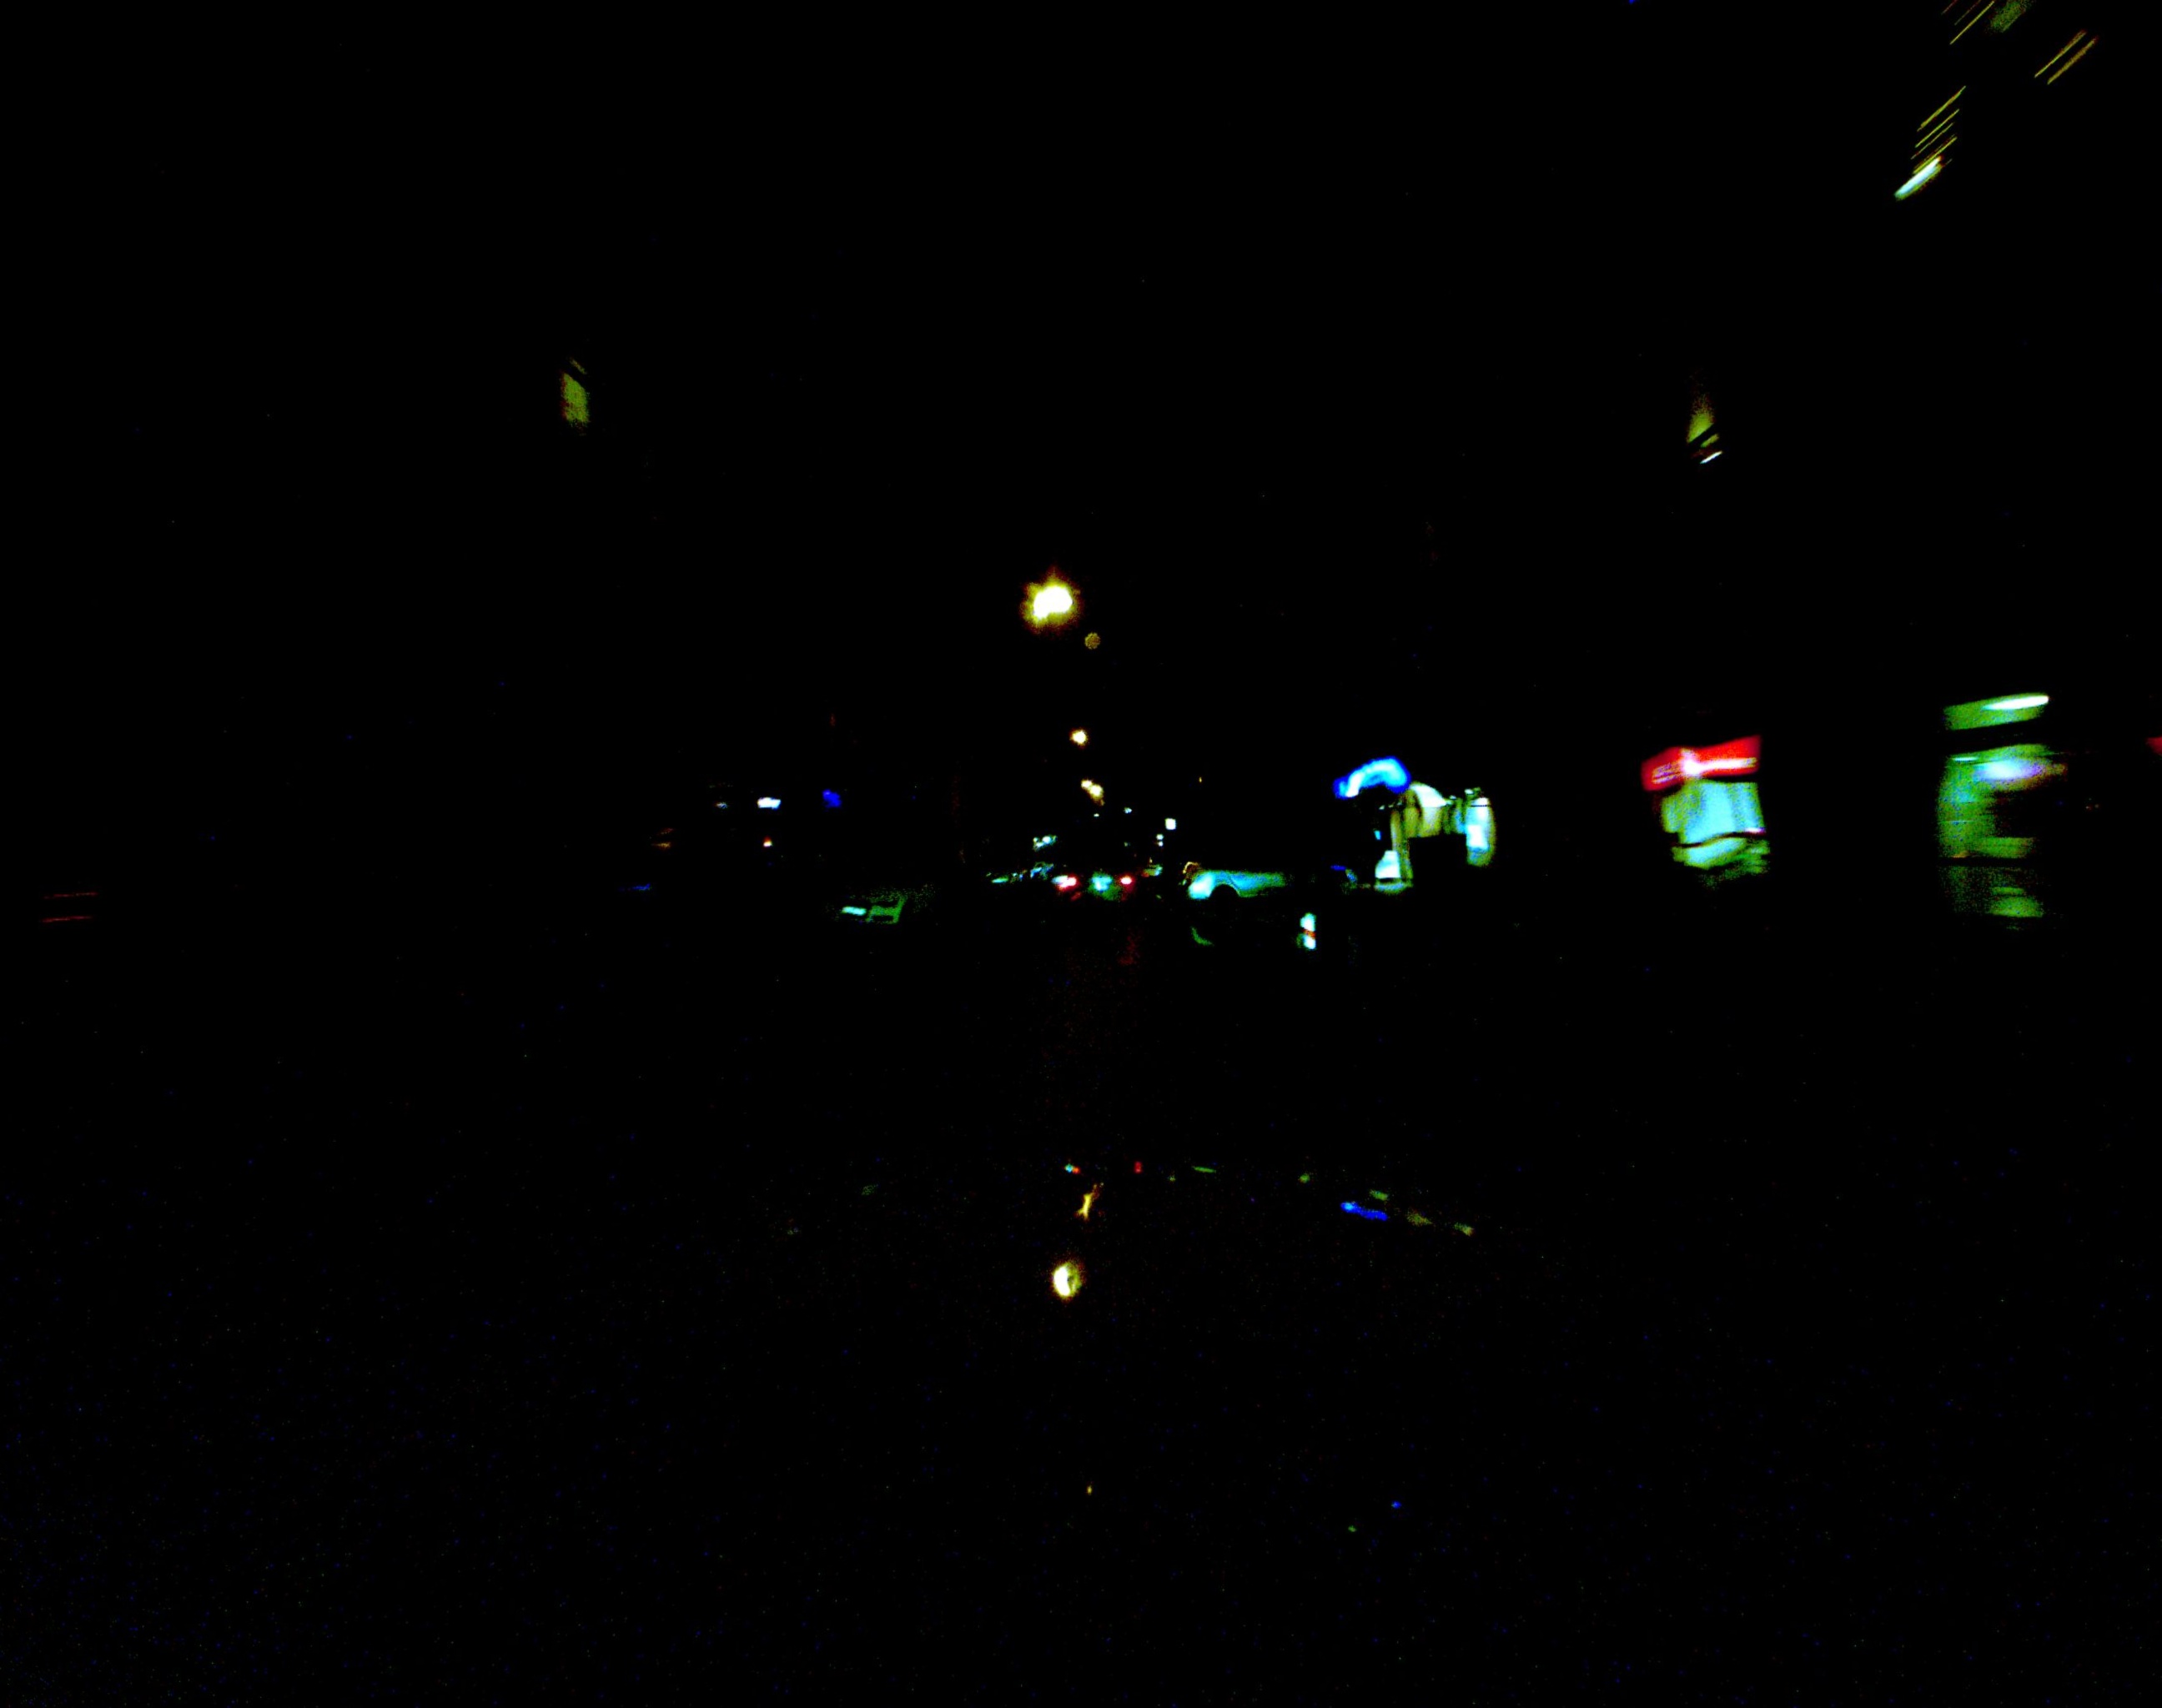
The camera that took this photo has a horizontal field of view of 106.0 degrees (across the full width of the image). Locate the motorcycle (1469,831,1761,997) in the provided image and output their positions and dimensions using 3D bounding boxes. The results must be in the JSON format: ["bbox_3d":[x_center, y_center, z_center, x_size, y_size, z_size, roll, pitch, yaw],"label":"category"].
[{"bbox_3d":[5.126,0.558,7.940,2.165,1.318,0.867,-6,0,1],"label":"motorcycle"}]

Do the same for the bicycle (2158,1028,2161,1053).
[{"bbox_3d":[3.684,0.831,2.011,1.525,0.952,0.366,-7,-1,-3],"label":"bicycle"}]

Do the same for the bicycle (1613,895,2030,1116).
[{"bbox_3d":[3.926,0.811,4.406,1.660,0.952,0.367,-8,-1,8],"label":"bicycle"}]

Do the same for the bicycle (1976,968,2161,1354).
[{"bbox_3d":[3.705,0.825,2.471,1.525,0.952,0.366,-7,-1,-3],"label":"bicycle"}]

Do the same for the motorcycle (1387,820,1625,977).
[{"bbox_3d":[5.056,0.514,9.816,2.280,1.588,0.867,-6,-1,1],"label":"motorcycle"}]

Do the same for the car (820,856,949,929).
[{"bbox_3d":[-4.586,0.833,19.814,1.760,1.483,4.775,1,0,2],"label":"car"}]

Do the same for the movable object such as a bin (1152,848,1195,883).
[{"bbox_3d":[3.955,0.483,34.840,1.347,1.429,1.188,-2,0,-35],"label":"movable object such as a bin"}]

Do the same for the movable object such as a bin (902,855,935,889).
[{"bbox_3d":[-7.189,0.786,36.101,1.098,1.454,1.378,-3,0,-1],"label":"movable object such as a bin"}]

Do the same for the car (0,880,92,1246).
[{"bbox_3d":[-5.204,0.878,1.723,1.563,1.460,3.722,-2,0,2],"label":"car"}]

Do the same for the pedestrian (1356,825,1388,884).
[{"bbox_3d":[9.028,0.012,25.298,0.699,1.788,0.625,-4,1,5],"label":"pedestrian"}]

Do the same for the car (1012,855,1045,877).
[{"bbox_3d":[-3.497,0.783,55.107,1.815,1.389,4.427,-2,0,2],"label":"car"}]

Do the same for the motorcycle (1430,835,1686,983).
[{"bbox_3d":[5.128,0.570,8.873,2.165,1.318,0.867,-6,0,1],"label":"motorcycle"}]

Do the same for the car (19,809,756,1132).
[{"bbox_3d":[-5.084,0.668,7.342,1.988,1.829,5.209,-2,0,2],"label":"car"}]

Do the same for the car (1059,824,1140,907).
[{"bbox_3d":[0.562,0.280,23.123,1.988,2.049,4.697,-2,0,2],"label":"car"}]

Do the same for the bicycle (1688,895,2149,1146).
[{"bbox_3d":[3.861,0.773,3.836,1.520,0.952,0.367,-8,-1,8],"label":"bicycle"}]

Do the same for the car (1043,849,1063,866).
[{"bbox_3d":[-2.913,0.330,85.657,1.826,1.717,4.596,-2,0,2],"label":"car"}]

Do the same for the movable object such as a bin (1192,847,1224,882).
[{"bbox_3d":[5.501,0.441,35.212,1.300,1.429,1.053,-2,0,11],"label":"movable object such as a bin"}]

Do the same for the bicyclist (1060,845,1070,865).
[{"bbox_3d":[-1.261,0.102,64.134,0.716,1.556,0.895,-3,0,1],"label":"bicyclist"}]

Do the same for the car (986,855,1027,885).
[{"bbox_3d":[-3.827,0.799,42.279,1.666,1.491,3.723,-1,0,1],"label":"car"}]

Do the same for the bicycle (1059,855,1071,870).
[{"bbox_3d":[-1.243,0.657,64.113,0.724,1.072,2.349,-3,0,2],"label":"bicycle"}]

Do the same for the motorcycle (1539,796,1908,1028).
[{"bbox_3d":[5.109,0.438,6.604,2.165,1.547,0.867,-6,-1,1],"label":"motorcycle"}]

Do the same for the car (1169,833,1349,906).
[{"bbox_3d":[4.821,0.402,22.474,4.497,1.530,1.780,-5,0,1],"label":"car"}]

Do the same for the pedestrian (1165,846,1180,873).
[{"bbox_3d":[6.152,0.365,54.872,0.858,1.788,1.084,-4,1,5],"label":"pedestrian"}]

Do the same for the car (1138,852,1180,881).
[{"bbox_3d":[4.265,0.661,45.253,1.986,1.464,4.418,-2,0,1],"label":"car"}]

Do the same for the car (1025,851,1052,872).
[{"bbox_3d":[-3.382,0.585,65.361,1.738,1.588,3.767,-2,0,2],"label":"car"}]

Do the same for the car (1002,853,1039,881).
[{"bbox_3d":[-3.654,0.748,49.732,1.768,1.572,4.136,-2,0,2],"label":"car"}]
